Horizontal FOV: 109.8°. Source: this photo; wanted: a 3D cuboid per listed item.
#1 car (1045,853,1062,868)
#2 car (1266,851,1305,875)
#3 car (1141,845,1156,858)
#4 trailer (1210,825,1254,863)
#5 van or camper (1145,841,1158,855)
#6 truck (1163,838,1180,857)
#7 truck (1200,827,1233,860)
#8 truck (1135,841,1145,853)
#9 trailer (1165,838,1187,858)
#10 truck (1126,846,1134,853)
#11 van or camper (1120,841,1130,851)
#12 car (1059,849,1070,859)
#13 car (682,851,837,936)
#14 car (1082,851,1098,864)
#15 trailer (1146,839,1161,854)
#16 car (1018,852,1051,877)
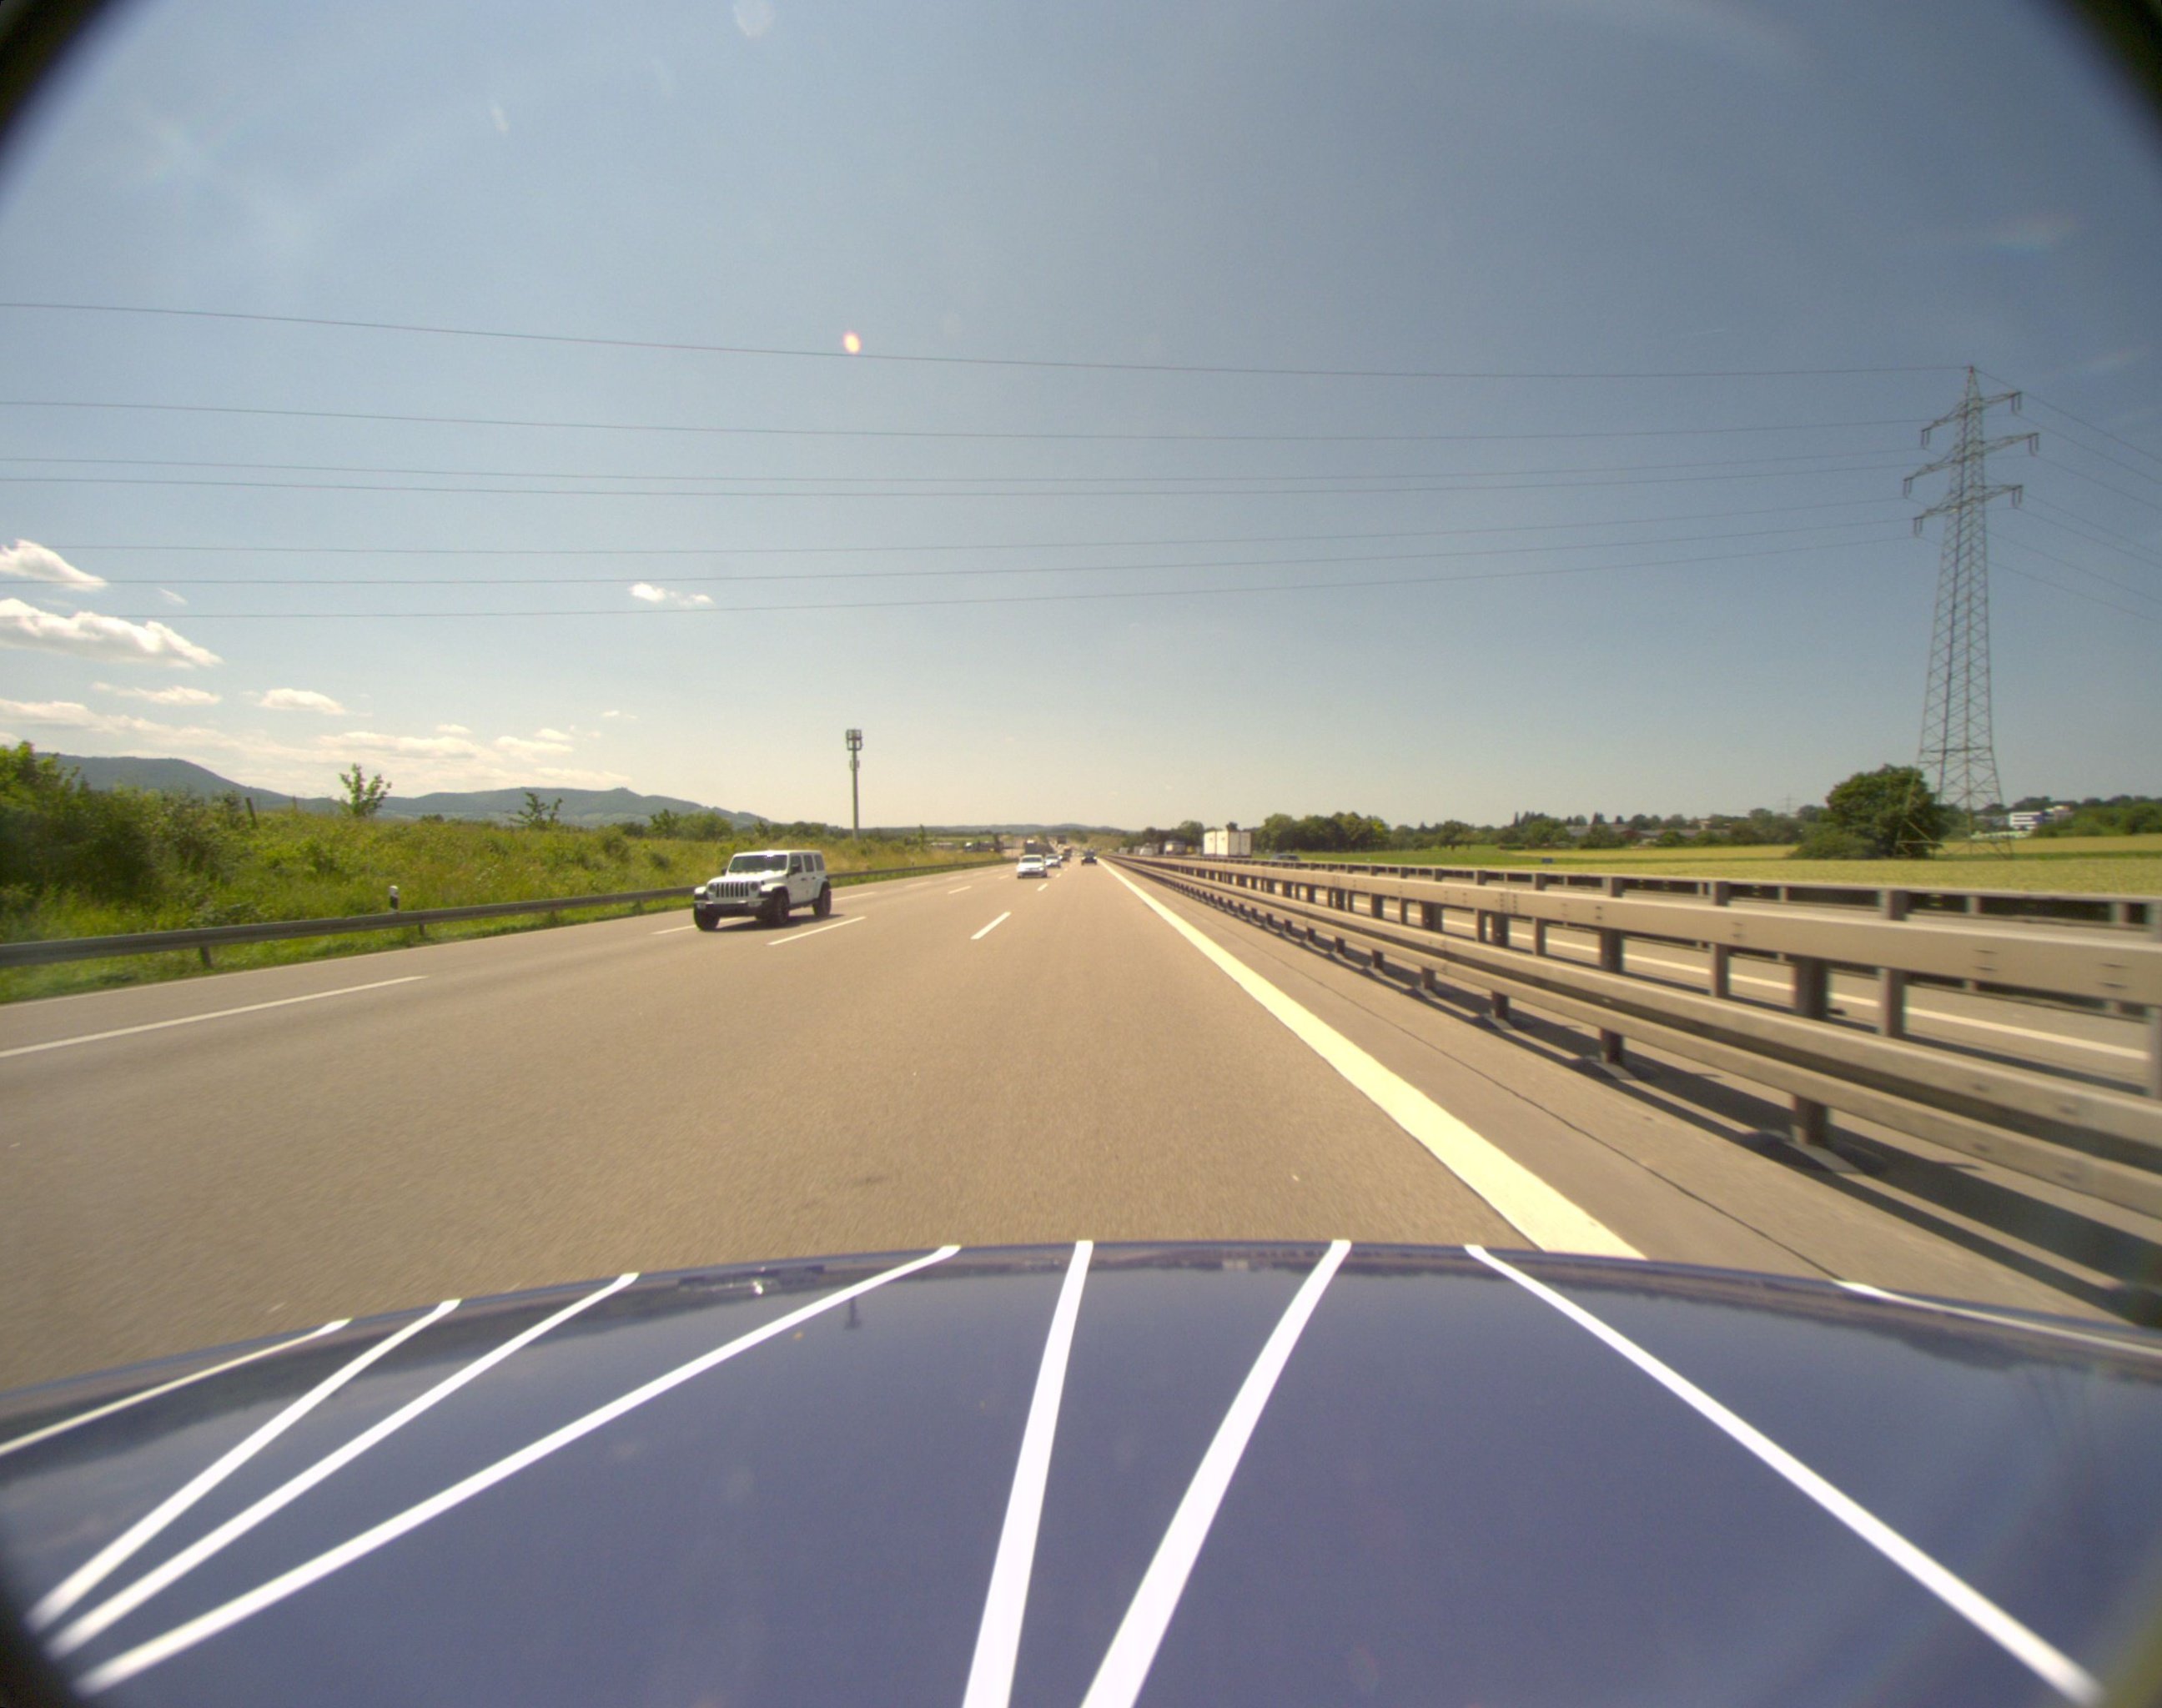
[{"bbox_3d":[-2.887,0.633,79.310,1.634,1.381,3.999,-2,1,-1],"label":"car"},{"bbox_3d":[13.058,0.557,48.662,1.486,1.417,3.609,1,0,-1],"label":"car"},{"bbox_3d":[10.684,-0.338,120.480,1.989,1.998,4.648,1,1,1],"label":"car"},{"bbox_3d":[17.562,-1.165,89.400,2.840,4.023,11.664,-2,1,0],"label":"trailer"},{"bbox_3d":[15.484,-1.357,167.737,2.346,3.147,7.401,0,1,1],"label":"van or camper"},{"bbox_3d":[18.751,-1.361,157.911,2.725,3.669,6.054,-2,1,-1],"label":"truck"},{"bbox_3d":[17.617,-1.346,98.983,2.828,4.066,7.530,-2,1,0],"label":"truck"},{"bbox_3d":[15.311,-1.802,197.279,2.255,2.992,7.427,1,1,1],"label":"truck"},{"bbox_3d":[18.866,-1.251,152.047,2.714,3.671,11.356,-2,1,-1],"label":"trailer"},{"bbox_3d":[14.859,-1.382,230.543,1.998,2.002,4.669,-2,1,2],"label":"truck"},{"bbox_3d":[11.613,-2.028,200.802,2.128,2.560,6.121,-2,1,1],"label":"van or camper"},{"bbox_3d":[-2.800,0.049,126.880,1.751,1.559,3.999,-2,1,-1],"label":"car"},{"bbox_3d":[-7.914,0.884,19.227,2.039,1.794,4.250,-2,1,0],"label":"car"},{"bbox_3d":[1.055,0.356,90.440,1.751,1.439,3.999,-2,1,-1],"label":"car"},{"bbox_3d":[20.214,-2.224,211.737,2.965,3.895,12.892,-2,1,1],"label":"trailer"},{"bbox_3d":[-2.961,0.660,49.455,1.780,1.425,4.690,-2,1,0],"label":"car"}]
